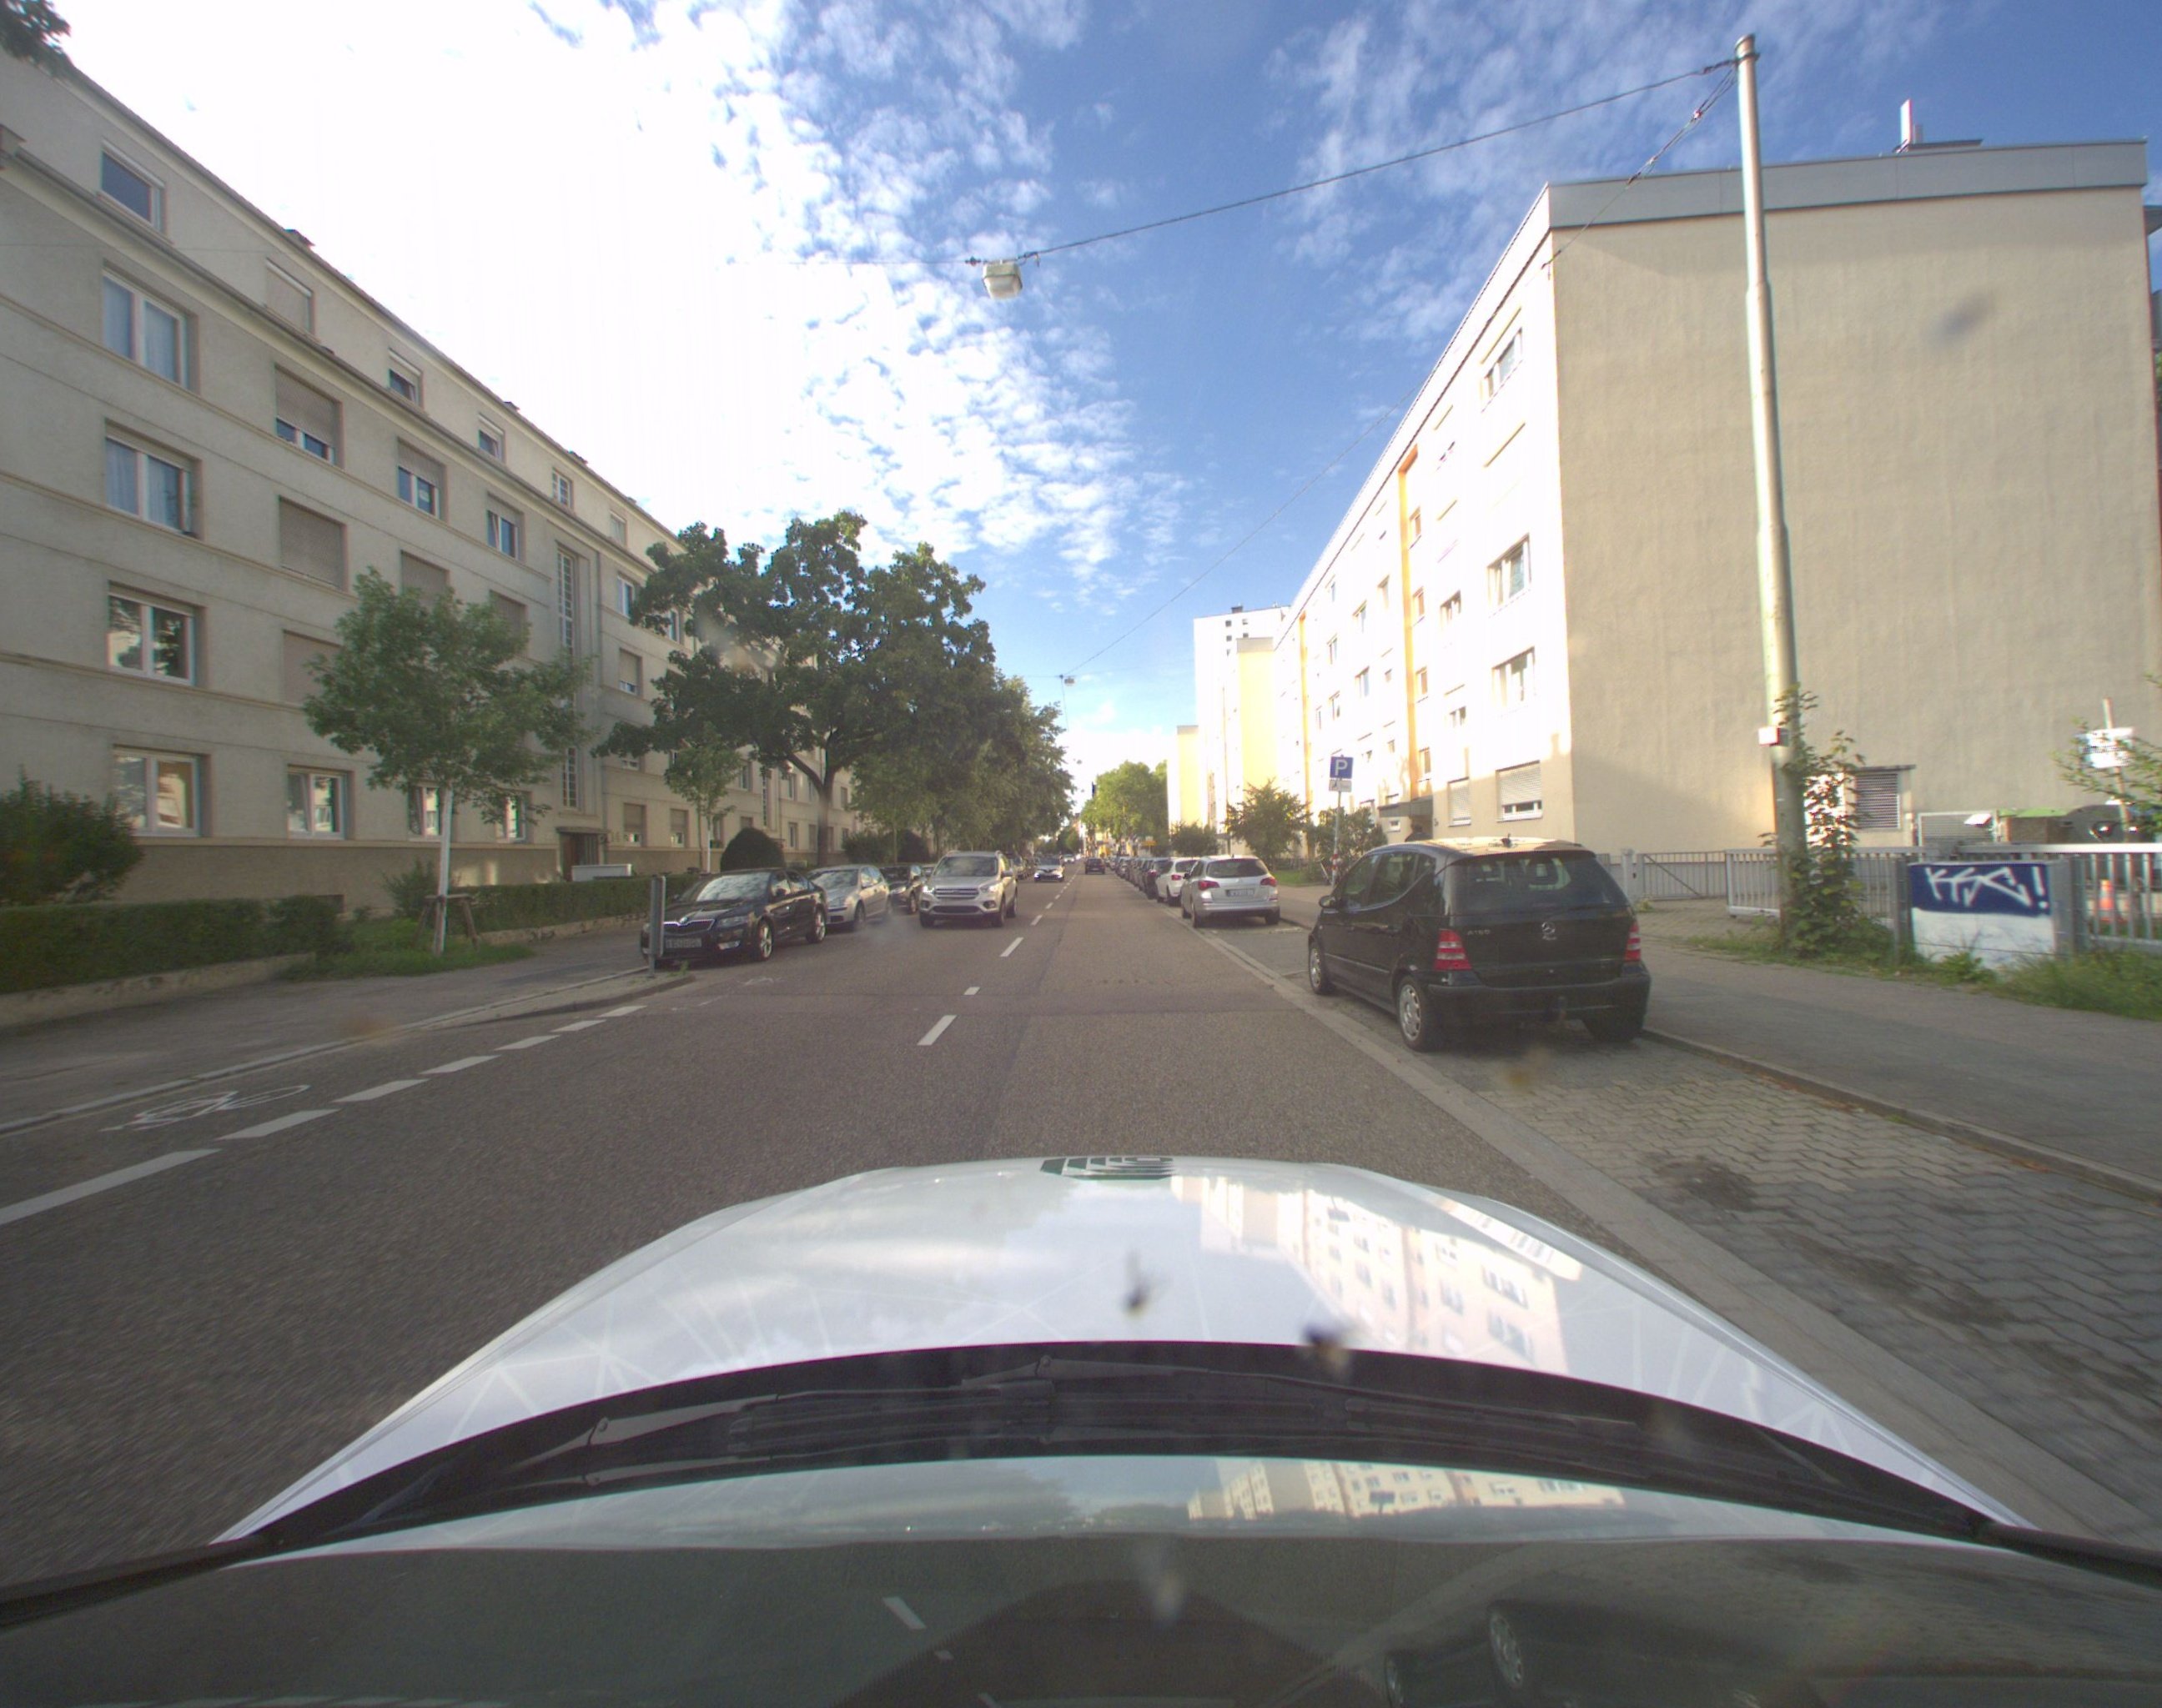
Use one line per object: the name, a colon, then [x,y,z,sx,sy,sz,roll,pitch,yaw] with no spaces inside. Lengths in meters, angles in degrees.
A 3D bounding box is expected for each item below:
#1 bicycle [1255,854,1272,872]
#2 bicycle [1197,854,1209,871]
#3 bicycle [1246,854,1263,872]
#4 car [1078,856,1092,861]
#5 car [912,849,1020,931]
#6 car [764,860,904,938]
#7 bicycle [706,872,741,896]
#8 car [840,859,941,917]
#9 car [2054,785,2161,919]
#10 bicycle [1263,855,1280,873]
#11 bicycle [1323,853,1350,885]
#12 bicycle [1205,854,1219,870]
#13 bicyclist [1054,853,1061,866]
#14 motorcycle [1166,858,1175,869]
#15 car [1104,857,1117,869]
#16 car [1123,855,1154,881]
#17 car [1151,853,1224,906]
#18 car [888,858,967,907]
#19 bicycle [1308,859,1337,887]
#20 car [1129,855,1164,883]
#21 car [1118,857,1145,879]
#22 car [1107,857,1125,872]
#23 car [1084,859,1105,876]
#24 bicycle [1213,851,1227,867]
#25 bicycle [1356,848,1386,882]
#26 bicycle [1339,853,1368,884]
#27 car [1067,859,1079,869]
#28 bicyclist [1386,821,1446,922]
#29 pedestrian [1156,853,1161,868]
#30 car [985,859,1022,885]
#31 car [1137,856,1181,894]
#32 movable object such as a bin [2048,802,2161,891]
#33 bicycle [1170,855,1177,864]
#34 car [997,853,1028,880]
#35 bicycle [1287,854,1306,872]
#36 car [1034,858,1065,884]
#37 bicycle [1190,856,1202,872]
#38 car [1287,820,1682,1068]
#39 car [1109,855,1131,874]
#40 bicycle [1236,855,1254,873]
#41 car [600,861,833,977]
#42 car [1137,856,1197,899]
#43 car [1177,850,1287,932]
bicycle: [10.914,0.524,48.853,0.500,1.030,2.069,-4,0,0]
bicycle: [10.152,0.695,67.717,0.593,1.291,2.635,-4,0,1]
bicycle: [10.395,0.555,48.855,0.500,1.030,2.095,-4,0,0]
car: [1.194,1.323,245.805,3.983,1.420,1.995,-2,0,-7]
car: [-2.570,0.761,19.153,1.823,1.669,4.085,-2,0,1]
car: [-5.627,0.953,19.157,1.814,1.486,4.369,-4,0,1]
bicycle: [-17.149,1.433,39.090,0.632,1.060,2.404,-1,0,0]
car: [-5.604,0.946,24.584,1.849,1.486,4.684,-2,0,0]
car: [14.268,-0.079,8.933,4.643,1.482,1.873,-1,0,5]
bicycle: [11.433,0.610,48.834,0.500,1.030,2.026,-4,0,0]
bicycle: [9.589,0.580,30.584,0.443,1.137,1.591,-3,-2,0]
bicycle: [10.874,0.638,67.721,0.724,1.291,2.635,-2,0,1]
bicyclist: [-2.787,0.645,96.627,0.639,1.601,0.990,-2,-1,1]
motorcycle: [9.444,0.994,85.809,0.628,1.045,2.393,-2,0,0]
car: [3.827,1.106,104.948,1.683,1.528,4.241,0,0,3]
car: [3.645,0.883,51.826,1.656,1.491,3.941,-3,0,0]
car: [3.297,0.749,25.938,1.678,1.468,4.205,-3,0,-1]
car: [-5.533,0.963,29.971,1.849,1.486,4.798,-5,0,0]
bicycle: [9.036,0.718,30.535,0.594,0.998,1.692,-1,-2,0]
car: [3.711,0.826,46.706,1.678,1.485,4.293,-3,0,1]
car: [3.563,1.006,58.123,1.656,1.416,4.058,-3,0,0]
car: [3.602,1.086,84.478,1.722,1.487,4.643,-2,0,2]
car: [1.189,1.171,71.479,1.746,1.413,3.999,-1,0,-1]
bicycle: [11.587,0.441,67.787,0.724,1.291,2.635,-1,0,1]
bicycle: [10.856,0.442,30.517,0.520,1.216,1.591,-3,-2,0]
bicycle: [10.142,0.555,30.369,0.520,1.074,1.591,-3,-2,0]
car: [-1.333,1.702,139.593,1.852,1.528,4.012,-1,0,1]
bicyclist: [5.775,0.287,14.061,0.621,1.678,0.893,-1,0,0]
pedestrian: [8.537,0.711,89.657,0.539,1.721,0.772,-2,-1,6]
car: [-5.171,1.171,54.548,1.848,1.573,4.461,-3,0,1]
car: [3.366,0.886,35.636,1.677,1.501,3.876,-3,0,2]
movable object such as a bin: [17.332,-0.126,13.650,0.873,1.417,1.111,-3,0,2]
bicycle: [11.943,0.685,105.152,0.527,1.115,2.209,-3,0,1]
car: [-5.031,0.897,60.406,1.871,1.793,4.969,-4,0,-1]
bicycle: [12.886,0.529,48.706,0.499,1.030,2.135,-5,0,1]
car: [-1.968,1.030,51.444,1.734,1.501,4.009,-2,0,0]
bicycle: [9.551,0.796,67.736,0.602,1.291,2.635,-3,0,1]
car: [3.232,0.614,7.496,1.667,1.602,3.971,-3,0,1]
car: [3.539,0.941,74.191,1.723,1.649,4.116,-3,0,0]
bicycle: [9.803,0.598,48.749,0.591,1.030,2.119,-4,0,0]
car: [-5.826,0.932,13.747,1.922,1.486,4.418,-4,0,-1]
car: [3.182,0.849,30.854,1.679,1.435,4.204,-3,0,-1]
car: [3.226,0.729,18.167,1.756,1.523,4.332,-3,0,2]
